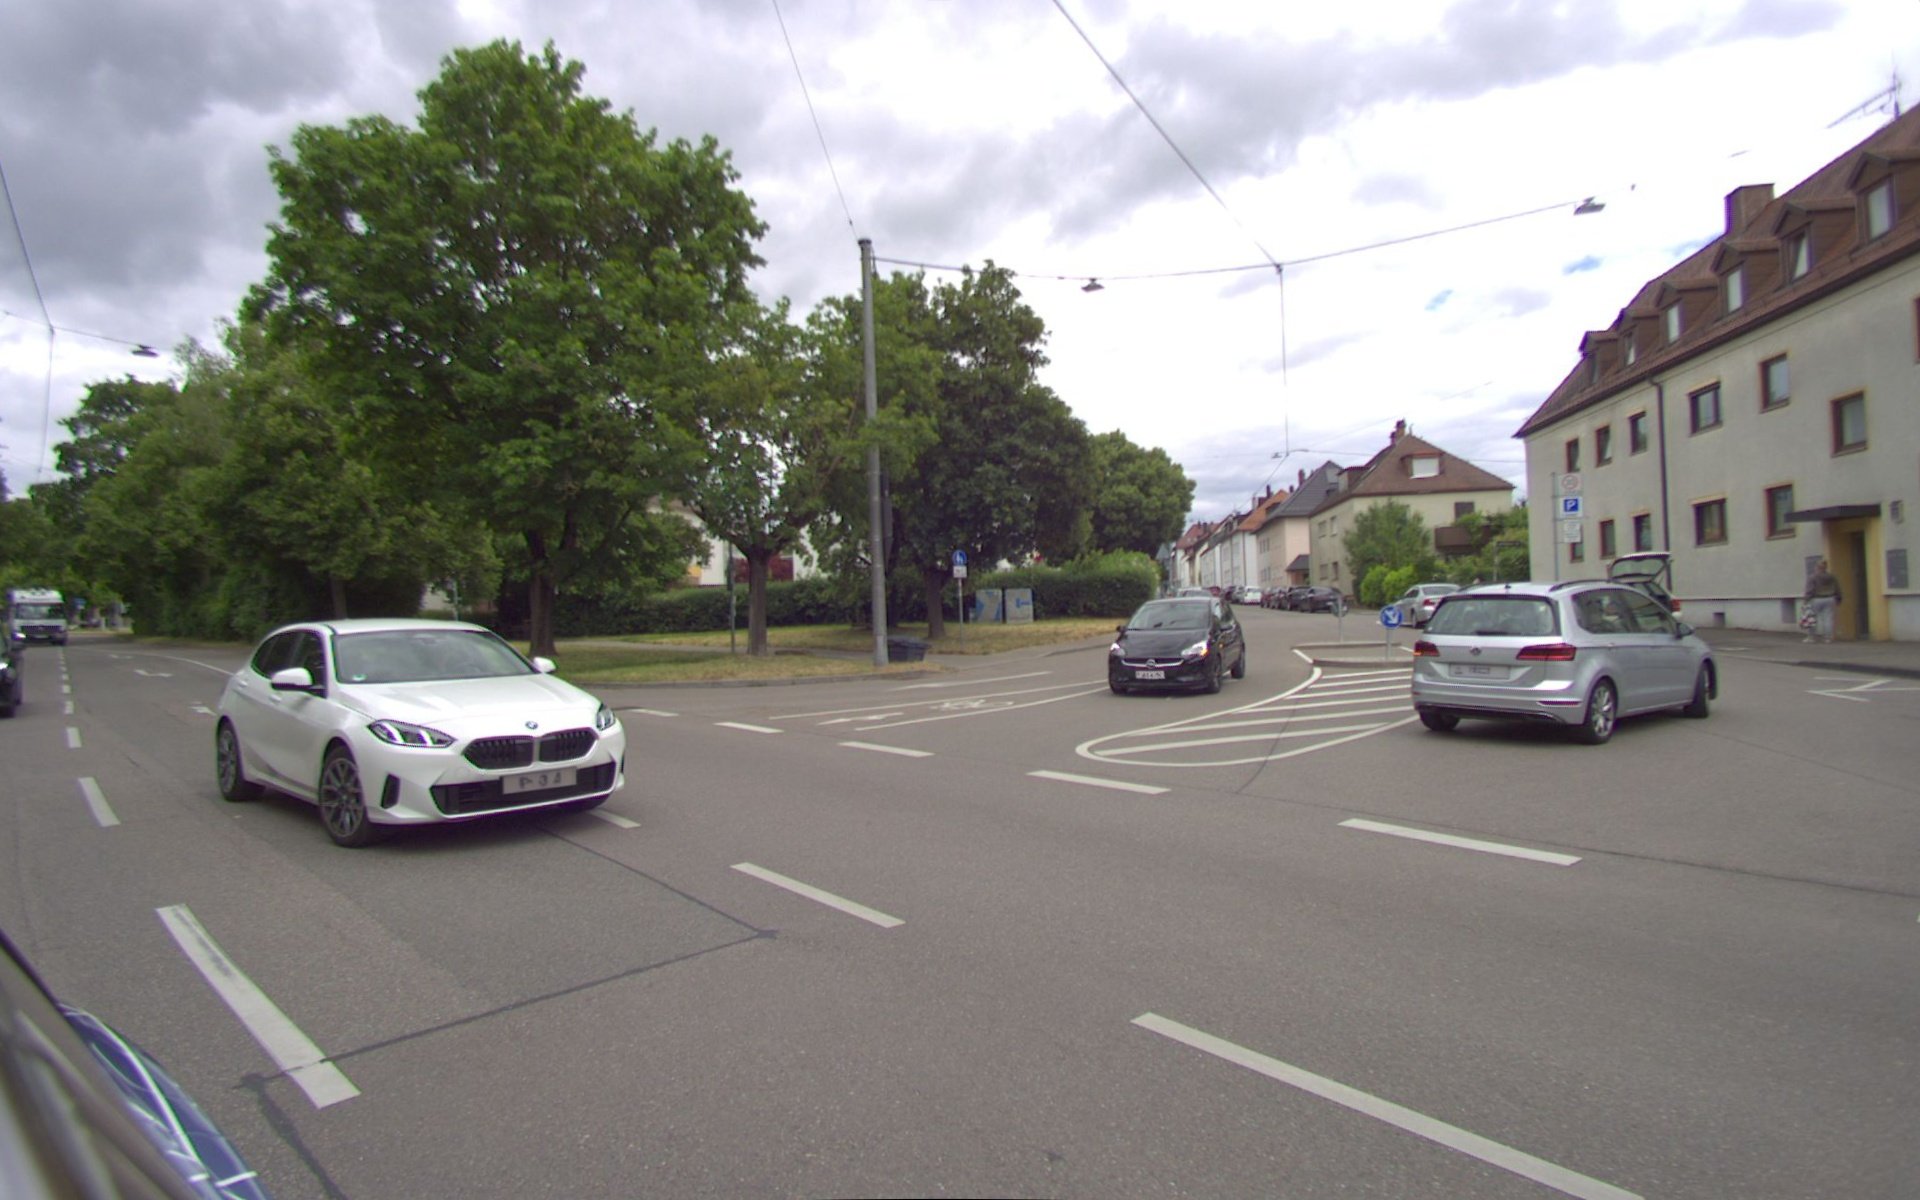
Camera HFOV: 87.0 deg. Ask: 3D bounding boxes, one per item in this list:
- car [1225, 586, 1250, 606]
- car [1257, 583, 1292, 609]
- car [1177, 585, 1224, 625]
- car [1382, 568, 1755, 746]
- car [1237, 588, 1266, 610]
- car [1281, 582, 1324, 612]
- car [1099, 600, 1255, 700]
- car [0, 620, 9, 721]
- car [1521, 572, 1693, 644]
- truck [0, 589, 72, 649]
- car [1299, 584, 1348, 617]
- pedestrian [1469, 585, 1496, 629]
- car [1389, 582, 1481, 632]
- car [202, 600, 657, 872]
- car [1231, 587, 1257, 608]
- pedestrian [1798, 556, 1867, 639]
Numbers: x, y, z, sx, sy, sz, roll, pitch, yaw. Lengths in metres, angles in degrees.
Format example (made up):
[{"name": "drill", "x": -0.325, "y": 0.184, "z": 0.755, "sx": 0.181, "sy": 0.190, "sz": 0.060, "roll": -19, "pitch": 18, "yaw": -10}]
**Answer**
[{"name": "car", "x": 25.192, "y": -0.391, "z": 91.898, "sx": 1.722, "sy": 1.563, "sz": 3.836, "roll": -4, "pitch": 1, "yaw": 10}, {"name": "car", "x": 21.659, "y": -0.300, "z": 69.855, "sx": 1.722, "sy": 1.563, "sz": 3.836, "roll": -4, "pitch": 1, "yaw": 10}, {"name": "car", "x": 11.853, "y": 0.208, "z": 50.036, "sx": 1.761, "sy": 1.763, "sz": 3.991, "roll": -4, "pitch": 1, "yaw": 8}, {"name": "car", "x": 6.631, "y": 0.502, "z": 10.939, "sx": 3.933, "sy": 1.586, "sz": 1.934, "roll": -1, "pitch": -1, "yaw": -34}, {"name": "car", "x": 23.612, "y": -0.111, "z": 82.162, "sx": 1.722, "sy": 1.563, "sz": 3.836, "roll": -4, "pitch": 1, "yaw": 10}, {"name": "car", "x": 20.116, "y": -0.187, "z": 59.609, "sx": 1.784, "sy": 1.546, "sz": 3.876, "roll": -4, "pitch": 1, "yaw": 11}, {"name": "car", "x": 3.683, "y": 0.747, "z": 16.647, "sx": 1.635, "sy": 1.346, "sz": 3.967, "roll": -4, "pitch": -1, "yaw": 25}, {"name": "car", "x": -16.282, "y": 1.066, "z": 15.846, "sx": 4.020, "sy": 1.495, "sz": 1.776, "roll": -1, "pitch": -2, "yaw": 43}, {"name": "car", "x": 15.175, "y": 0.134, "z": 24.028, "sx": 1.702, "sy": 1.450, "sz": 4.307, "roll": -4, "pitch": 1, "yaw": 8}, {"name": "truck", "x": -52.836, "y": 1.096, "z": 57.787, "sx": 6.463, "sy": 3.219, "sz": 2.404, "roll": -1, "pitch": -1, "yaw": 41}, {"name": "car", "x": 19.207, "y": 0.010, "z": 53.669, "sx": 1.784, "sy": 1.546, "sz": 3.876, "roll": -4, "pitch": 1, "yaw": 11}, {"name": "pedestrian", "x": 20.330, "y": 0.254, "z": 39.368, "sx": 0.675, "sy": 1.645, "sz": 0.779, "roll": -4, "pitch": 1, "yaw": 13}, {"name": "car", "x": 15.528, "y": 0.195, "z": 33.293, "sx": 1.665, "sy": 1.545, "sz": 4.221, "roll": 0, "pitch": 1, "yaw": 10}, {"name": "car", "x": -4.246, "y": 0.810, "z": 7.780, "sx": 4.206, "sy": 1.529, "sz": 1.776, "roll": -1, "pitch": -2, "yaw": 42}, {"name": "car", "x": 24.480, "y": -0.248, "z": 87.330, "sx": 1.722, "sy": 1.563, "sz": 3.836, "roll": -4, "pitch": 1, "yaw": 10}, {"name": "pedestrian", "x": 16.760, "y": -0.055, "z": 19.466, "sx": 0.744, "sy": 1.545, "sz": 0.711, "roll": -4, "pitch": 1, "yaw": 23}]
